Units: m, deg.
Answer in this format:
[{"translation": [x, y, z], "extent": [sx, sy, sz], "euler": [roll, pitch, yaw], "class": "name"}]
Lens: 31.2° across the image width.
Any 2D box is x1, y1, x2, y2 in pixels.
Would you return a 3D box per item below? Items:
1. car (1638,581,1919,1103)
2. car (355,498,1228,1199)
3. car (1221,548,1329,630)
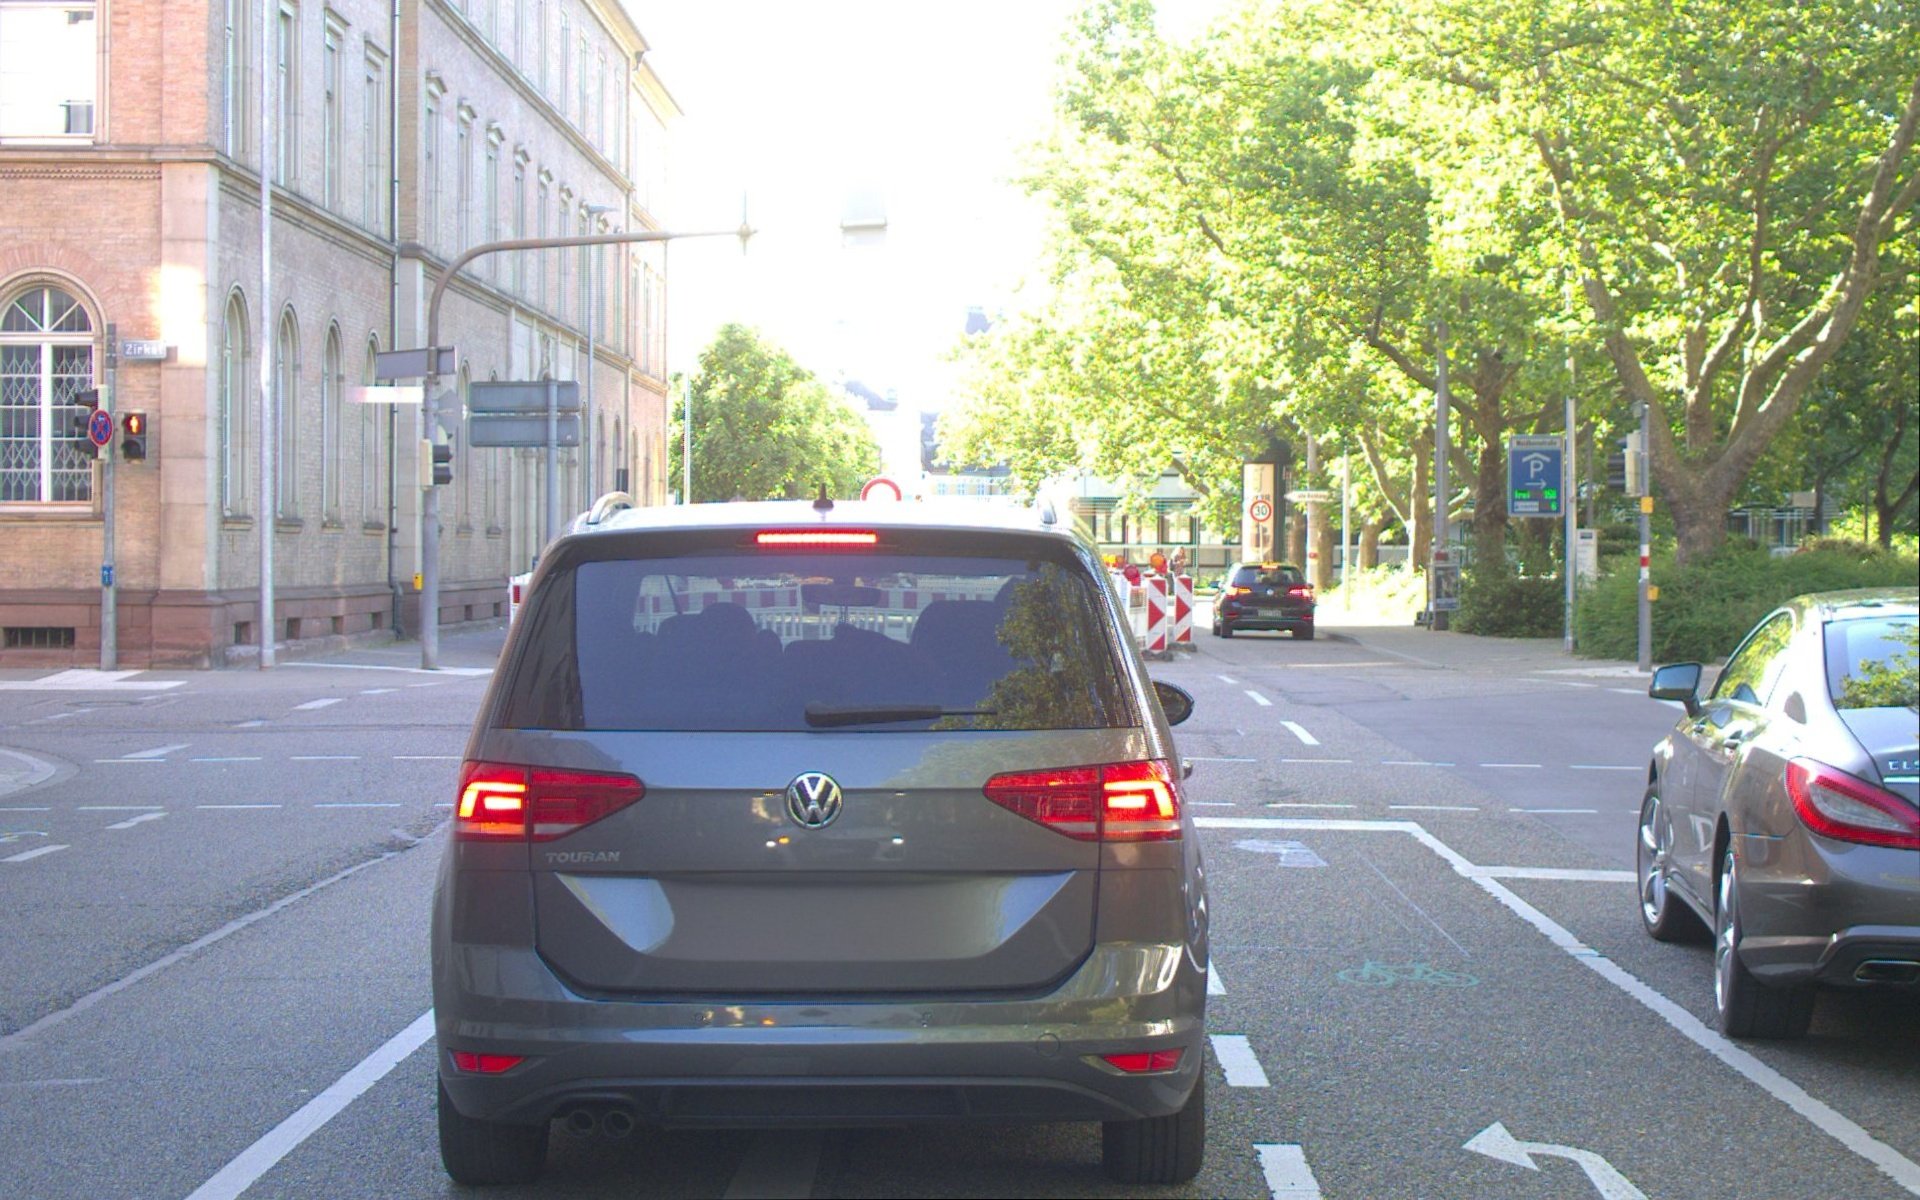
[{"translation": [3.423, 0.674, 11.725], "extent": [1.843, 1.424, 4.516], "euler": [1, 1, 7], "class": "car"}, {"translation": [-0.279, 0.570, 9.115], "extent": [1.809, 1.607, 4.000], "euler": [0, 1, 2], "class": "car"}, {"translation": [5.934, -0.231, 65.062], "extent": [1.689, 1.435, 3.902], "euler": [3, 1, 1], "class": "car"}]
